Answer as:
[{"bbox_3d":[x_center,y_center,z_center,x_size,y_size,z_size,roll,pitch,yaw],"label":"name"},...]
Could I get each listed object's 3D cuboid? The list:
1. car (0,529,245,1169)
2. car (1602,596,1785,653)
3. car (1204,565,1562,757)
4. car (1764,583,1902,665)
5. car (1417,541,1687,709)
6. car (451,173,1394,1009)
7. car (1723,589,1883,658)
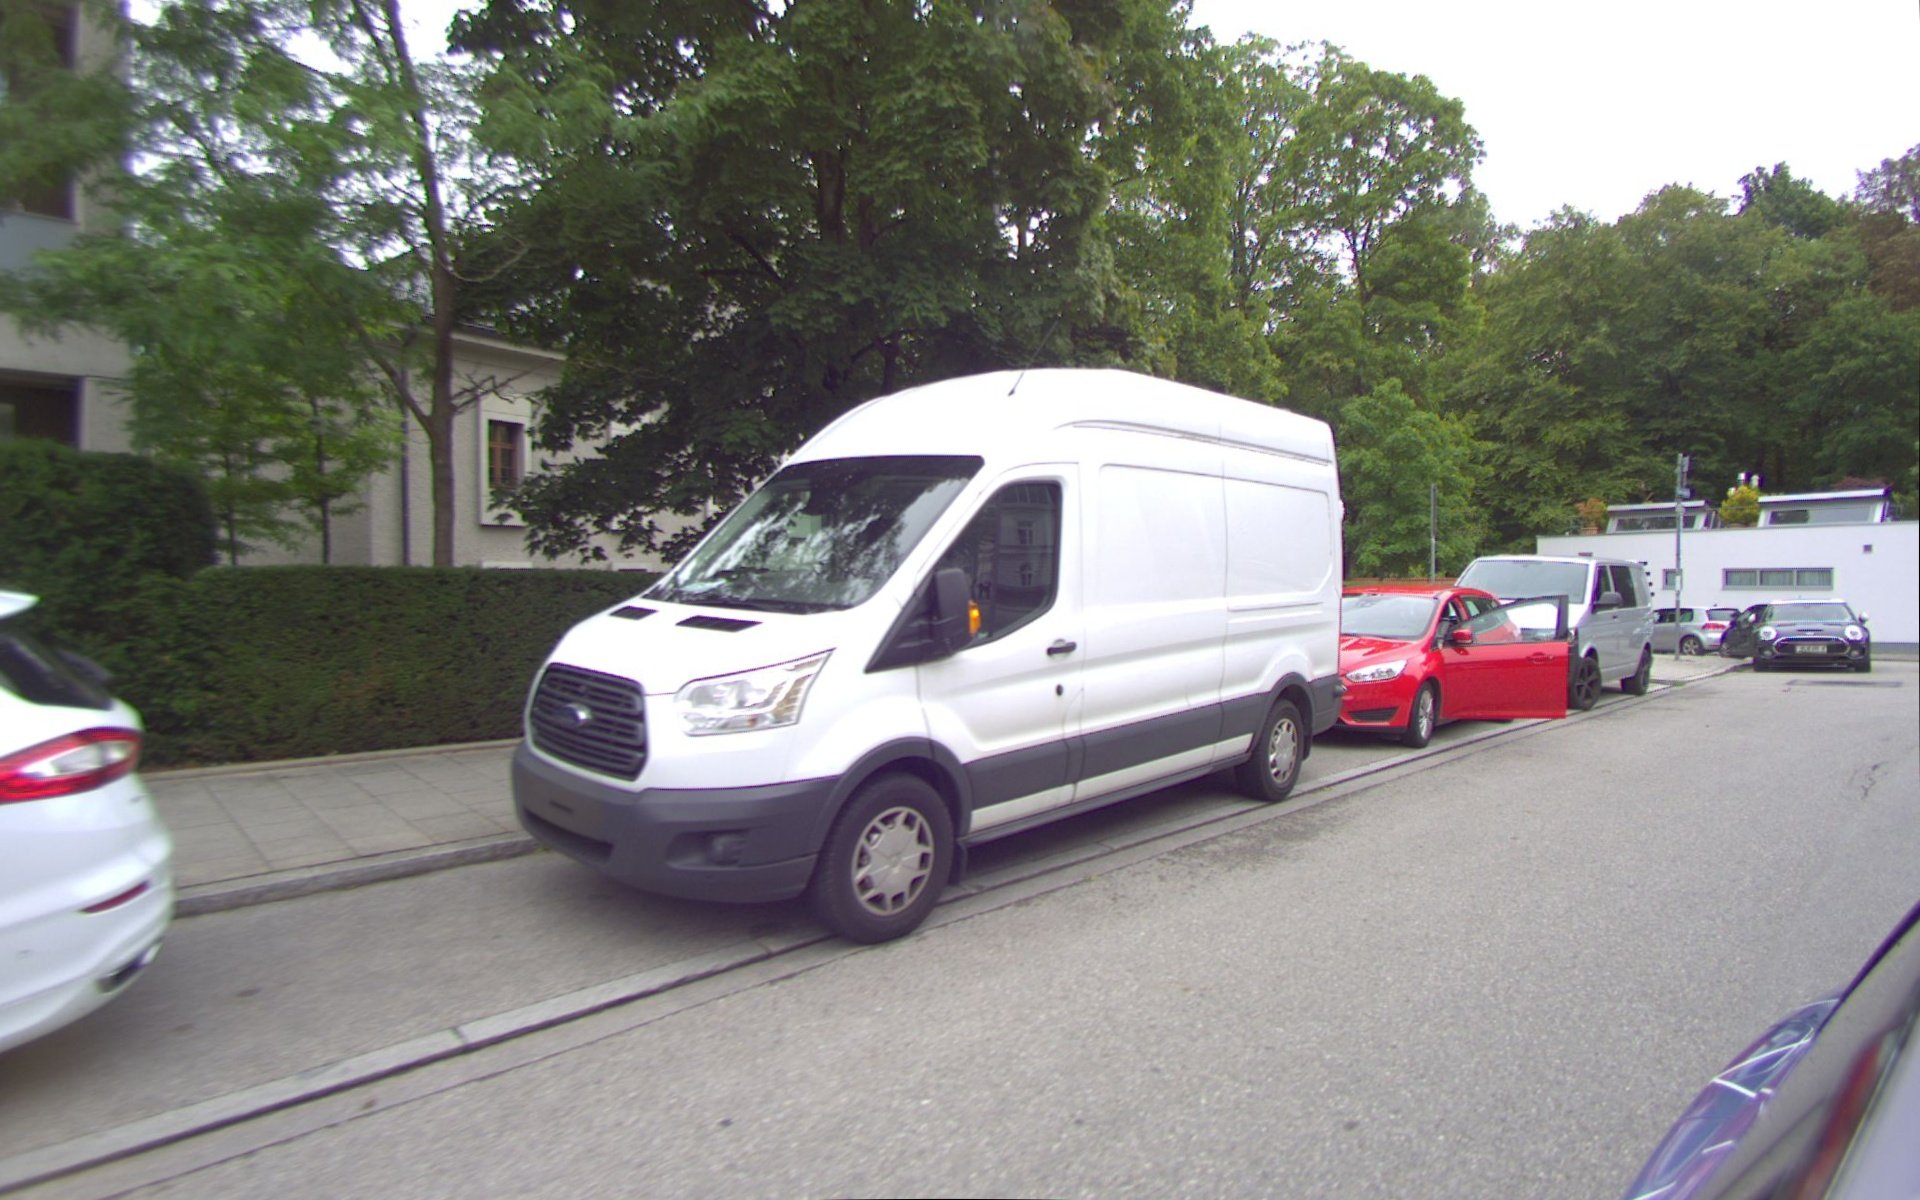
[{"bbox_3d":[-4.358,0.585,1.663,1.870,1.589,4.925,3,2,42],"label":"car"},{"bbox_3d":[20.816,0.697,28.946,1.901,1.465,4.020,1,-2,-11],"label":"car"},{"bbox_3d":[4.639,0.462,10.661,1.871,1.525,4.762,4,3,43],"label":"car"},{"bbox_3d":[17.510,0.489,20.478,1.887,1.465,4.208,-3,-2,39],"label":"car"},{"bbox_3d":[8.416,0.232,14.160,4.988,1.928,1.937,0,3,-44],"label":"car"},{"bbox_3d":[0.429,-0.082,6.200,2.080,2.719,5.992,3,2,43],"label":"car"},{"bbox_3d":[19.945,0.583,24.162,1.877,1.465,3.979,-2,-3,25],"label":"car"}]
